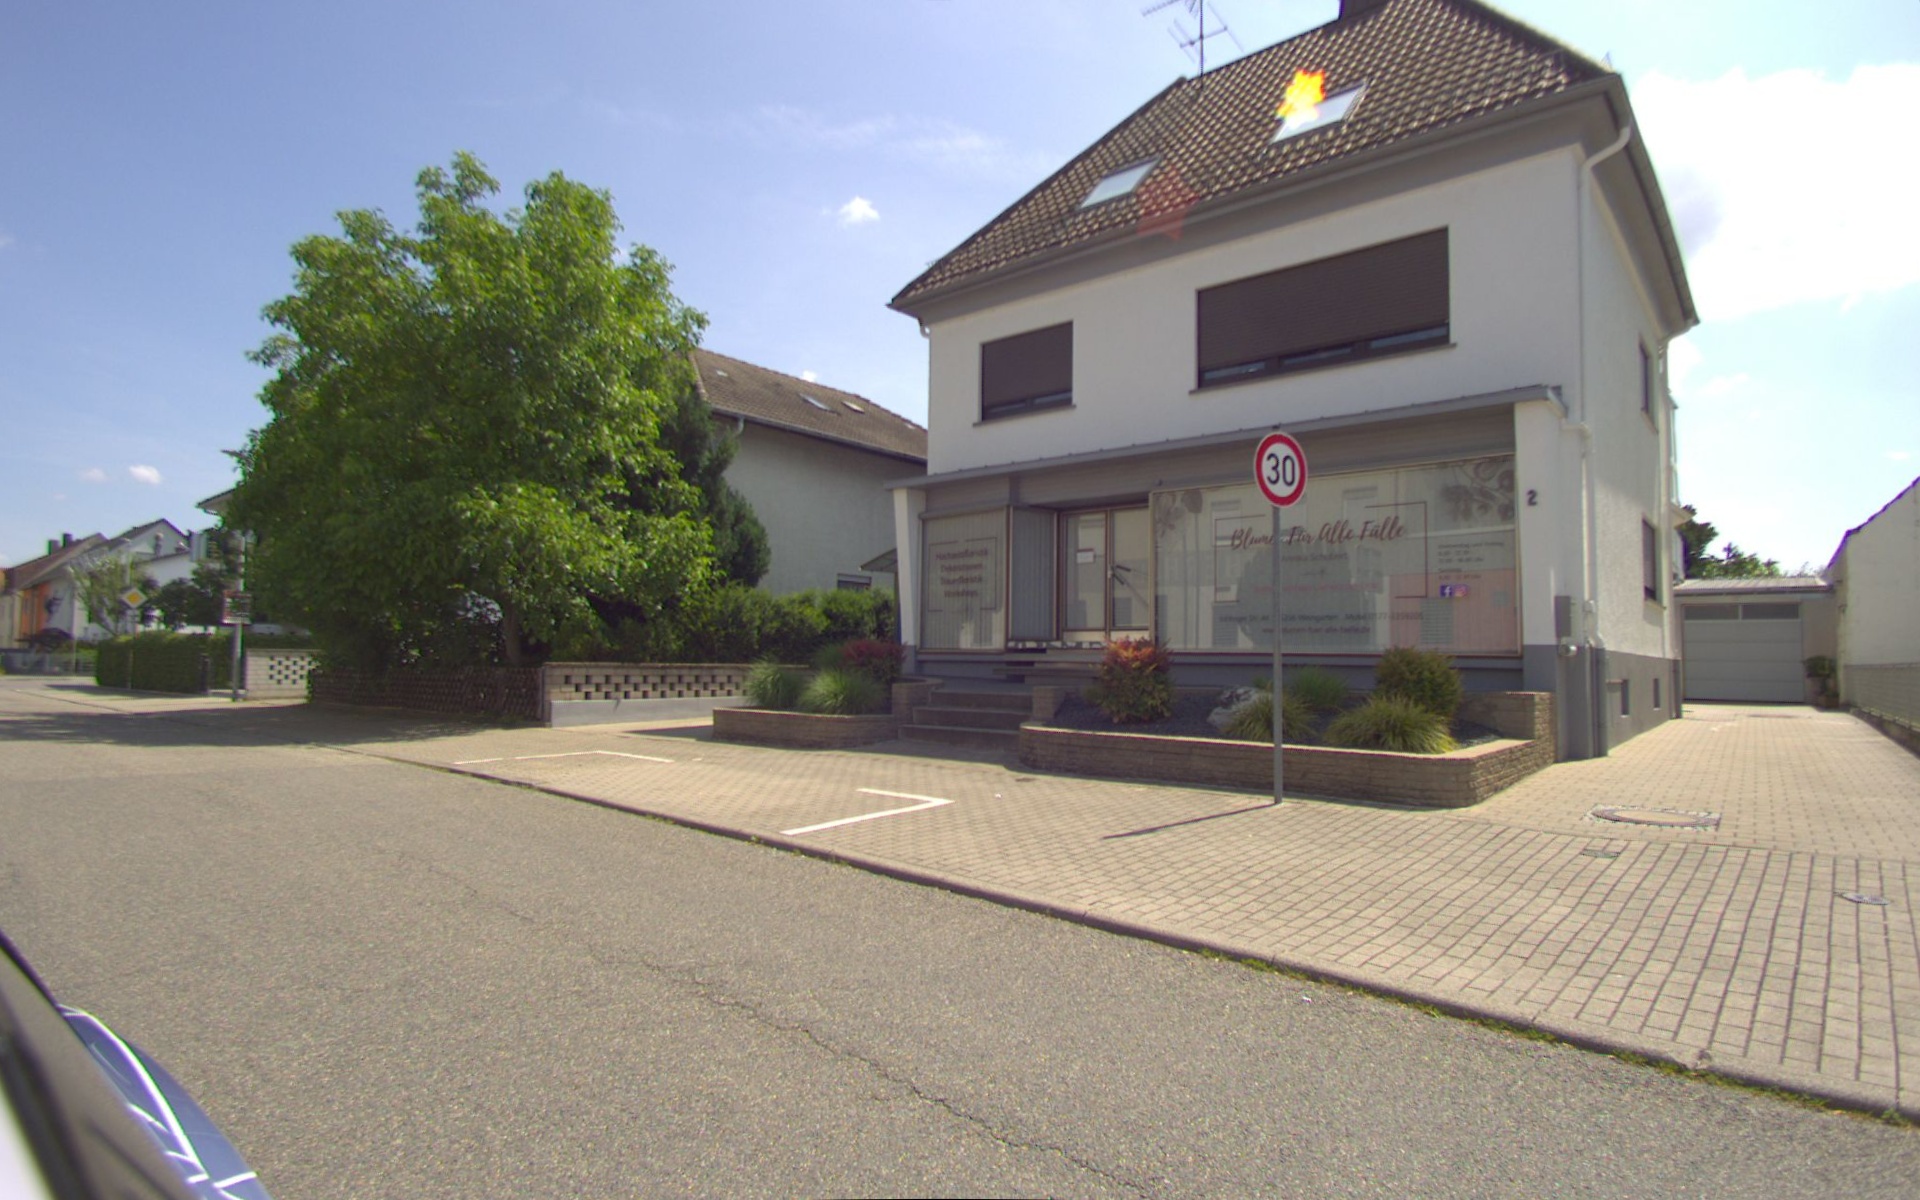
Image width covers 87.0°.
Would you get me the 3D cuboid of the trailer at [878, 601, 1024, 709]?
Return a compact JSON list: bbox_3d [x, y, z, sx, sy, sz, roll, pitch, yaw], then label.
[{"bbox_3d":[-0.139,1.163,21.788,1.670,2.129,3.140,-2,-3,35],"label":"trailer"}]
